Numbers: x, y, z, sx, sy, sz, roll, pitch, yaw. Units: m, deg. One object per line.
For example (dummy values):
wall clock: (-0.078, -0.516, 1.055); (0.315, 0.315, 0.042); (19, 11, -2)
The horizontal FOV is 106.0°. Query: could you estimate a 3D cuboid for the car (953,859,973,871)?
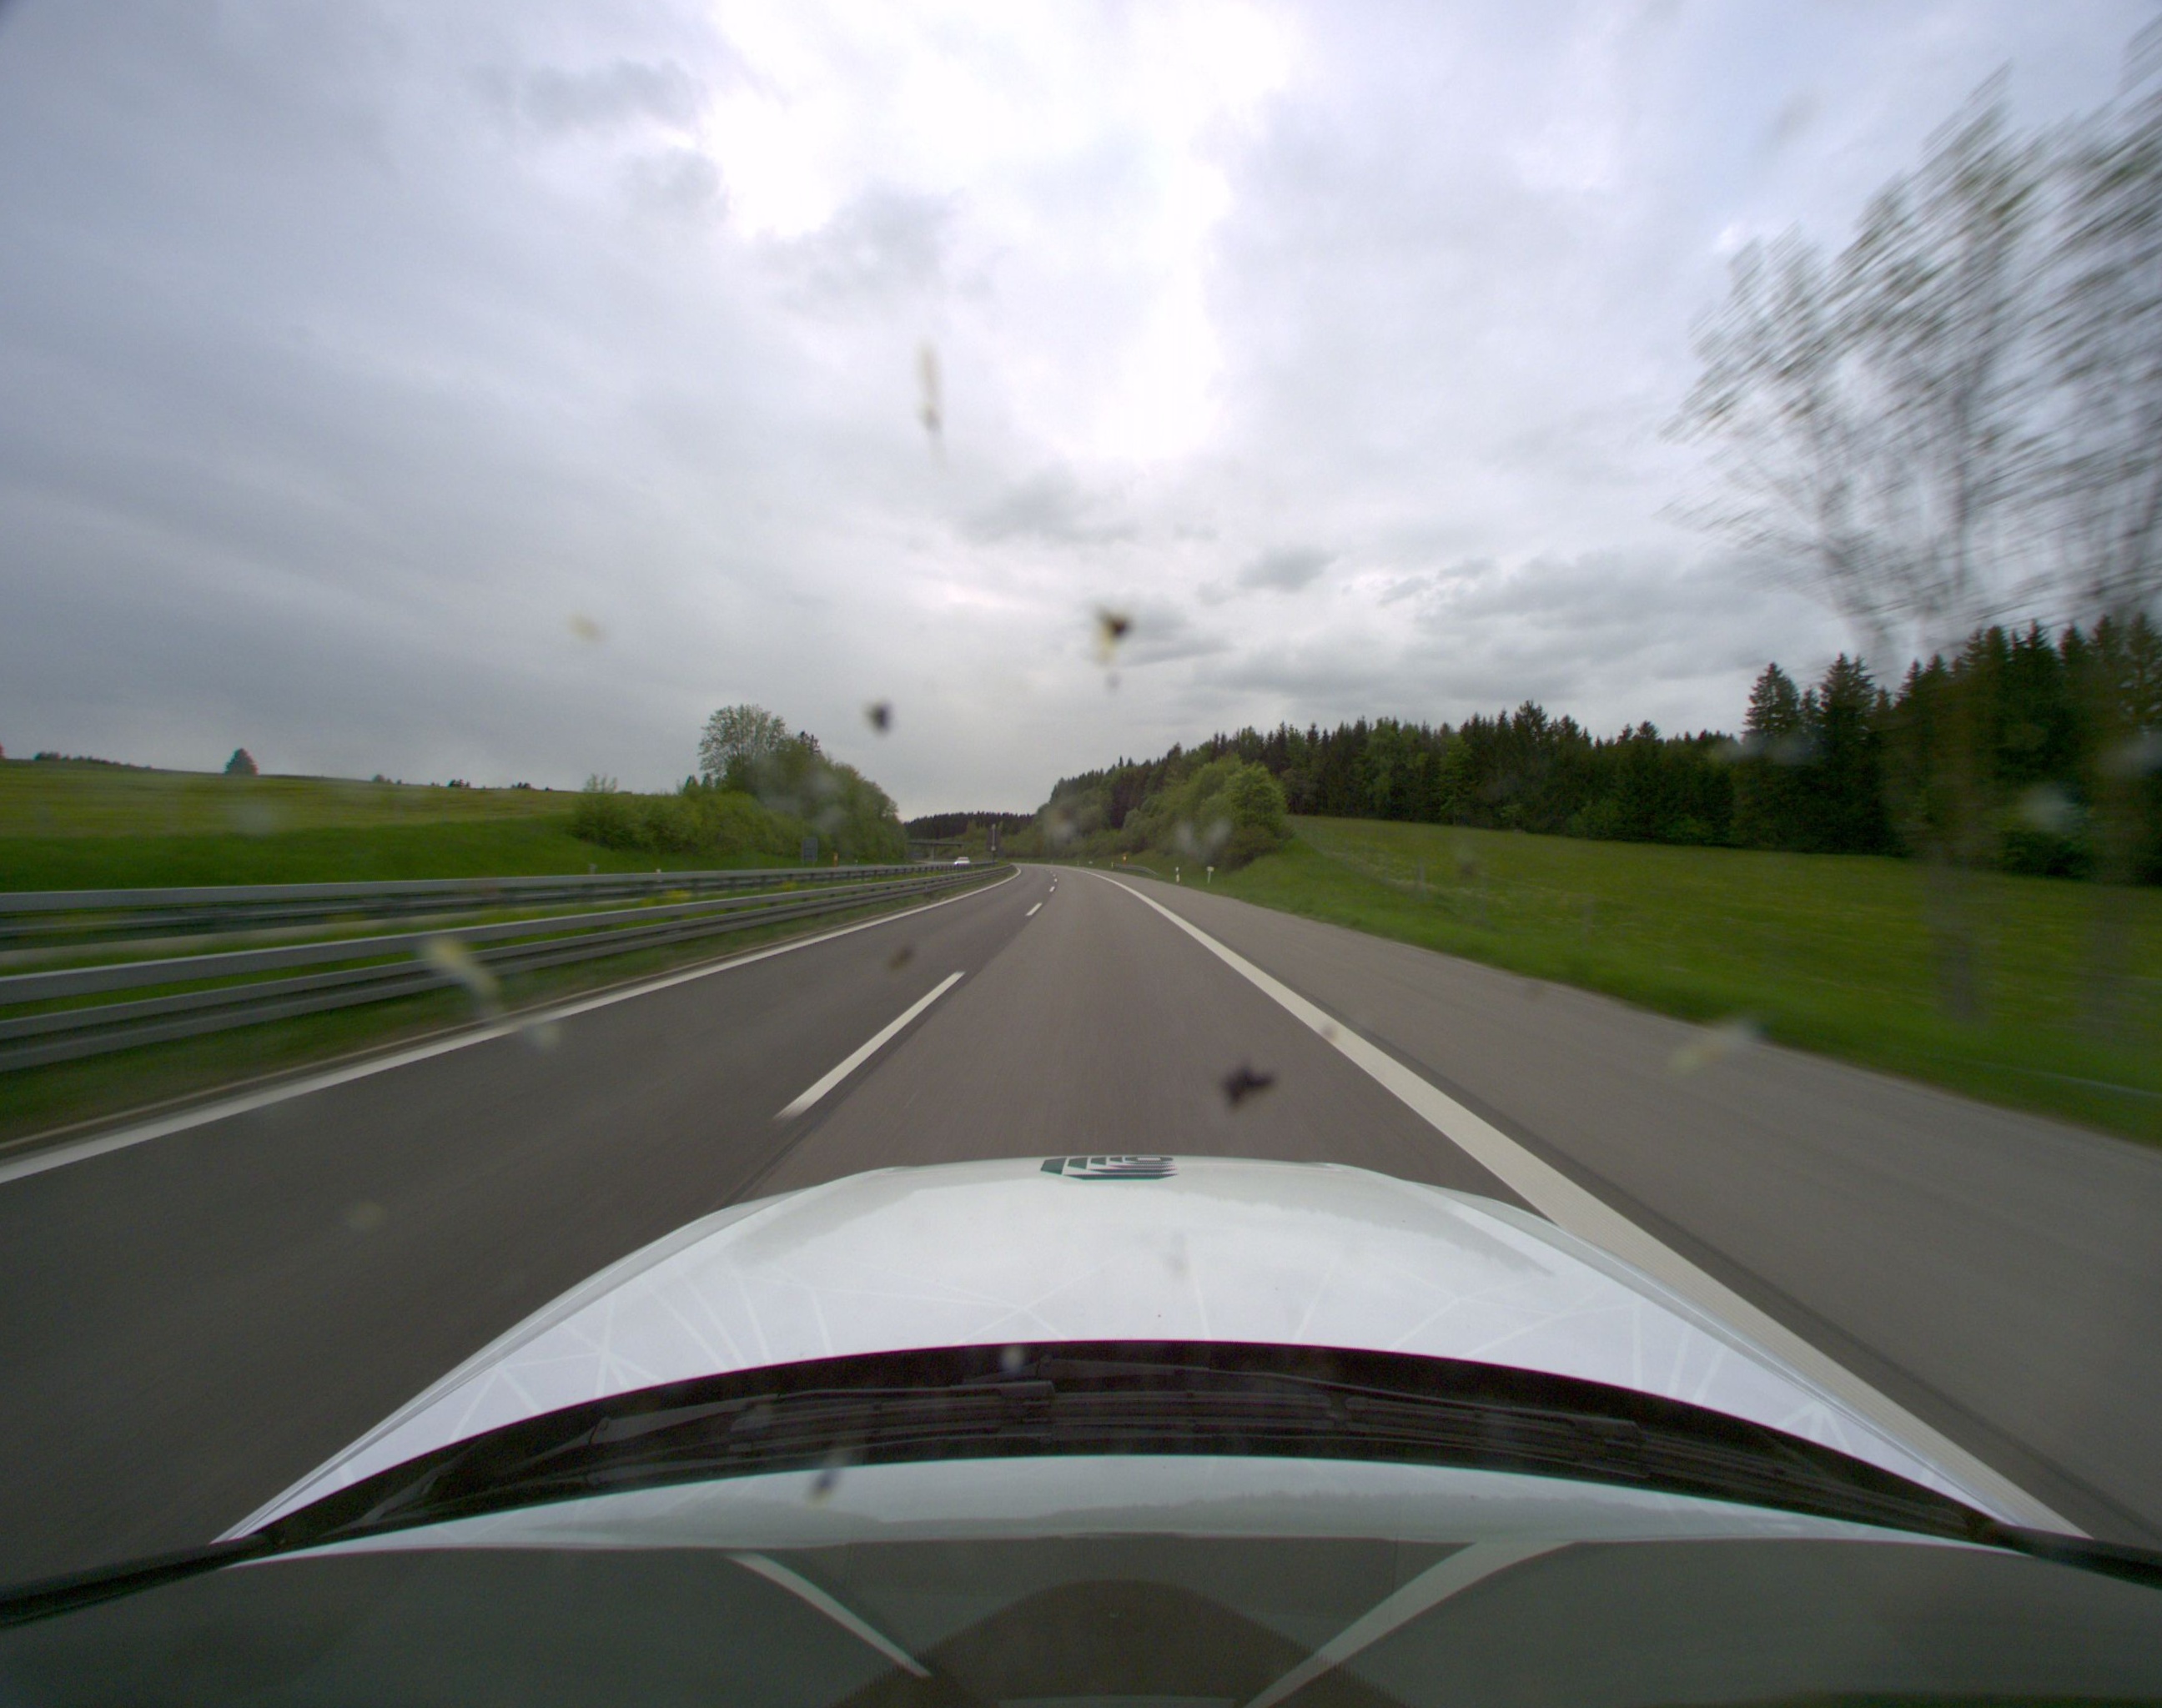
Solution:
car: (-14.802, 1.394, 102.435); (1.989, 1.429, 4.457); (2, 0, -4)
